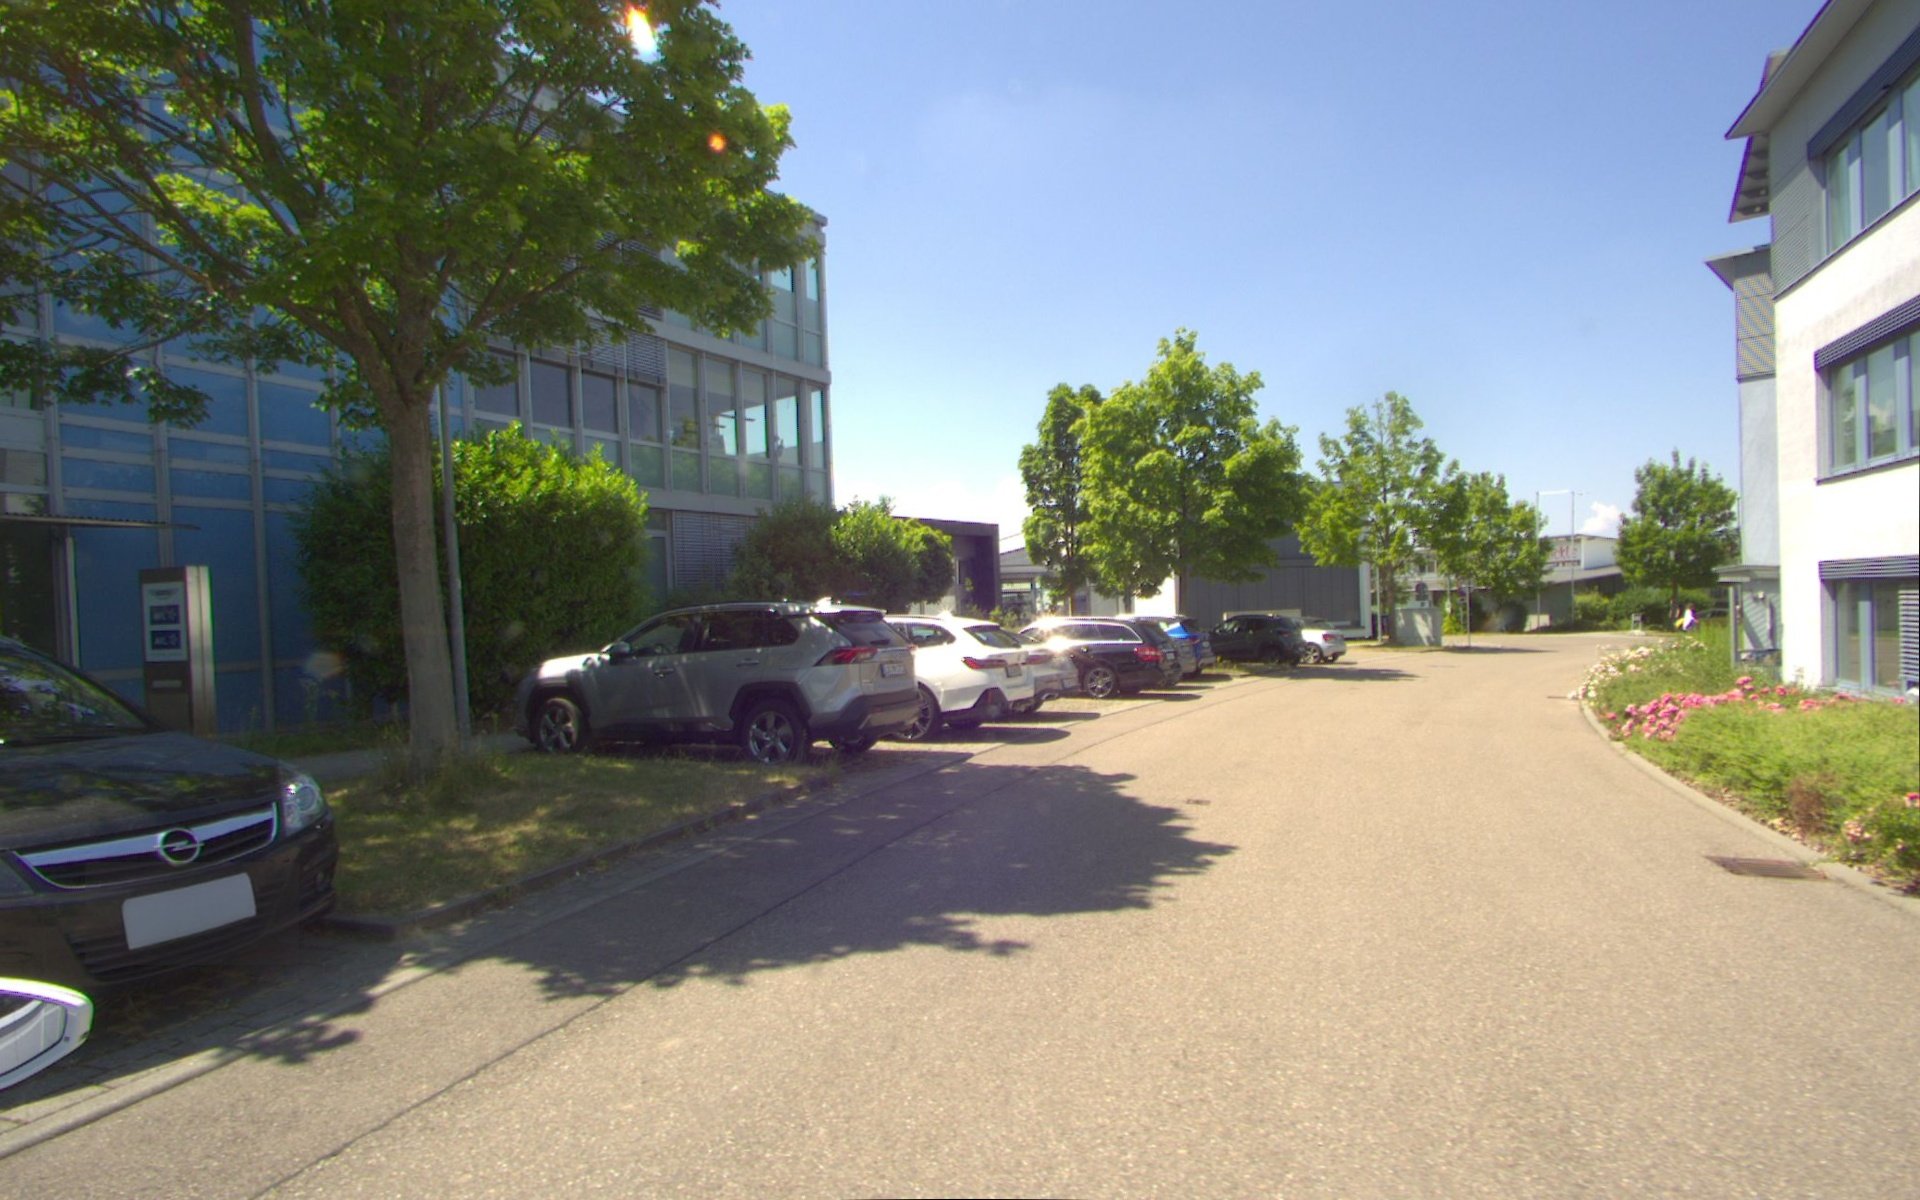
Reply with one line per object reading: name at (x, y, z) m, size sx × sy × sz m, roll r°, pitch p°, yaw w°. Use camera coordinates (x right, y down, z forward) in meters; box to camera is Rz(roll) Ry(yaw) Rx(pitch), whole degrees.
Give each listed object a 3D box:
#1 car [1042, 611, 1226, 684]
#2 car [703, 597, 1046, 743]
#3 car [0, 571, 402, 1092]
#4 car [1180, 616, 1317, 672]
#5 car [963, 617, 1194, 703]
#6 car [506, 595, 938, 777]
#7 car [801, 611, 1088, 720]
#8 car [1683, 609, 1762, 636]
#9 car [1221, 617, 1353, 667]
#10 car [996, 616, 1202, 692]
car at (4.171, 1.089, 24.286) m, size 4.123 × 1.626 × 1.650 m, roll -1°, pitch -1°, yaw 36°
car at (-1.108, 0.821, 12.966) m, size 4.131 × 1.664 × 1.657 m, roll 0°, pitch -1°, yaw 22°
car at (-4.831, 0.763, 4.282) m, size 4.486 × 1.569 × 1.760 m, roll -2°, pitch -1°, yaw 20°
car at (8.445, 1.235, 29.410) m, size 3.547 × 1.545 × 1.623 m, roll -1°, pitch -1°, yaw 40°
car at (2.239, 1.083, 19.245) m, size 4.114 × 1.505 × 1.654 m, roll 0°, pitch -1°, yaw 29°
car at (-2.551, 0.812, 10.792) m, size 4.258 × 1.664 × 1.853 m, roll 0°, pitch -1°, yaw 22°
car at (-0.239, 0.927, 15.356) m, size 4.106 × 1.505 × 1.657 m, roll 0°, pitch -1°, yaw 22°
car at (42.741, 1.272, 56.180) m, size 1.561 × 1.461 × 3.211 m, roll -1°, pitch -1°, yaw -16°
car at (10.117, 1.271, 31.082) m, size 3.547 × 1.462 × 1.623 m, roll -1°, pitch -1°, yaw 40°
car at (2.976, 1.107, 21.451) m, size 4.107 × 1.505 × 1.656 m, roll 0°, pitch -1°, yaw 23°
